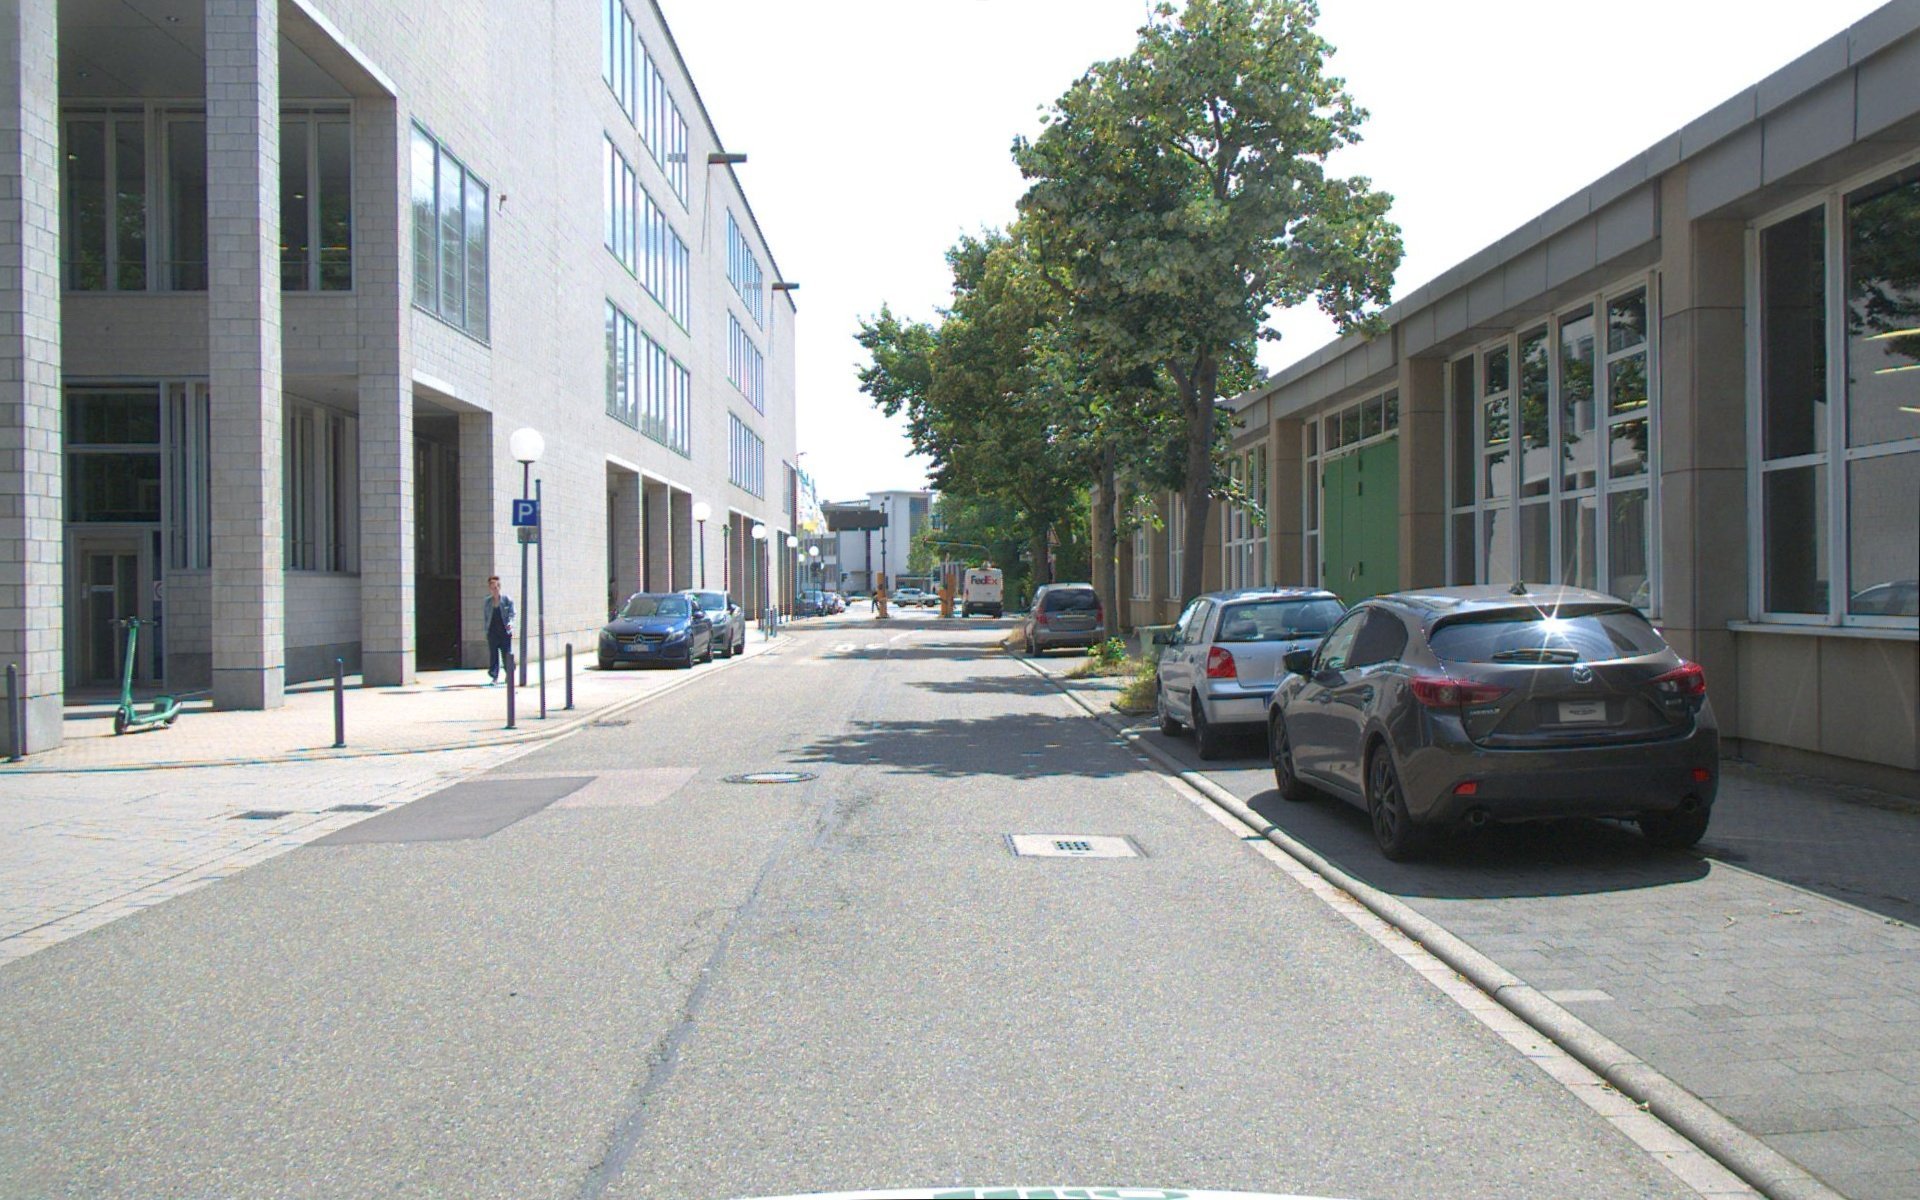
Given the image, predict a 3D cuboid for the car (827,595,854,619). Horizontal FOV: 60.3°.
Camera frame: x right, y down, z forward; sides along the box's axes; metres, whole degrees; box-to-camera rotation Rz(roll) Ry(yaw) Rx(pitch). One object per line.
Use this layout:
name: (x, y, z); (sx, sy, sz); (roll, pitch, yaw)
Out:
car: (-7.971, 0.493, 110.733); (1.612, 1.524, 3.727); (-1, -2, -2)

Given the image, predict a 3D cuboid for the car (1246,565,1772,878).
car: (3.159, 0.597, 10.570); (1.745, 1.502, 4.461); (-2, 0, -1)

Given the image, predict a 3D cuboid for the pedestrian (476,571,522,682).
pedestrian: (-7.378, 0.416, 26.497); (0.638, 1.731, 0.887); (0, 0, -12)

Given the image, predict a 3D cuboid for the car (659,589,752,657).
car: (-5.931, 0.509, 38.964); (1.598, 1.511, 4.177); (0, 0, -1)

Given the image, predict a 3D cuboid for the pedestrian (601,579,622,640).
pedestrian: (-10.827, 0.300, 51.400); (0.501, 1.873, 0.735); (-1, -2, -2)

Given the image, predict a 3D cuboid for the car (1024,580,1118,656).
car: (2.517, 0.386, 38.452); (1.821, 1.601, 3.999); (-2, 0, -1)

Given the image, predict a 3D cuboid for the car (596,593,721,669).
car: (-6.060, 0.596, 33.664); (1.730, 1.452, 4.234); (0, 0, 0)

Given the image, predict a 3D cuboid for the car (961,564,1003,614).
car: (1.156, -0.597, 87.516); (2.041, 2.584, 4.314); (0, 0, -2)

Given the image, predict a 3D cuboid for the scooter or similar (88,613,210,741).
scooter or similar: (-8.422, 0.771, 17.230); (0.445, 1.245, 1.549); (-1, 0, 2)

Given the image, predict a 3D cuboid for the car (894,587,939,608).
car: (-3.991, -0.211, 151.096); (3.902, 1.937, 1.798); (0, 0, 7)

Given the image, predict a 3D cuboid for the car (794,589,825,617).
car: (-8.973, 0.201, 98.955); (1.612, 1.524, 3.727); (-1, -2, -2)

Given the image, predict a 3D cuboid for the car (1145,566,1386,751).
car: (2.827, 0.491, 16.045); (1.583, 1.565, 3.779); (0, 0, -1)

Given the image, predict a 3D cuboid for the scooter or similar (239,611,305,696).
scooter or similar: (-10.330, 0.780, 24.803); (0.521, 1.231, 1.536); (-1, 0, -38)
